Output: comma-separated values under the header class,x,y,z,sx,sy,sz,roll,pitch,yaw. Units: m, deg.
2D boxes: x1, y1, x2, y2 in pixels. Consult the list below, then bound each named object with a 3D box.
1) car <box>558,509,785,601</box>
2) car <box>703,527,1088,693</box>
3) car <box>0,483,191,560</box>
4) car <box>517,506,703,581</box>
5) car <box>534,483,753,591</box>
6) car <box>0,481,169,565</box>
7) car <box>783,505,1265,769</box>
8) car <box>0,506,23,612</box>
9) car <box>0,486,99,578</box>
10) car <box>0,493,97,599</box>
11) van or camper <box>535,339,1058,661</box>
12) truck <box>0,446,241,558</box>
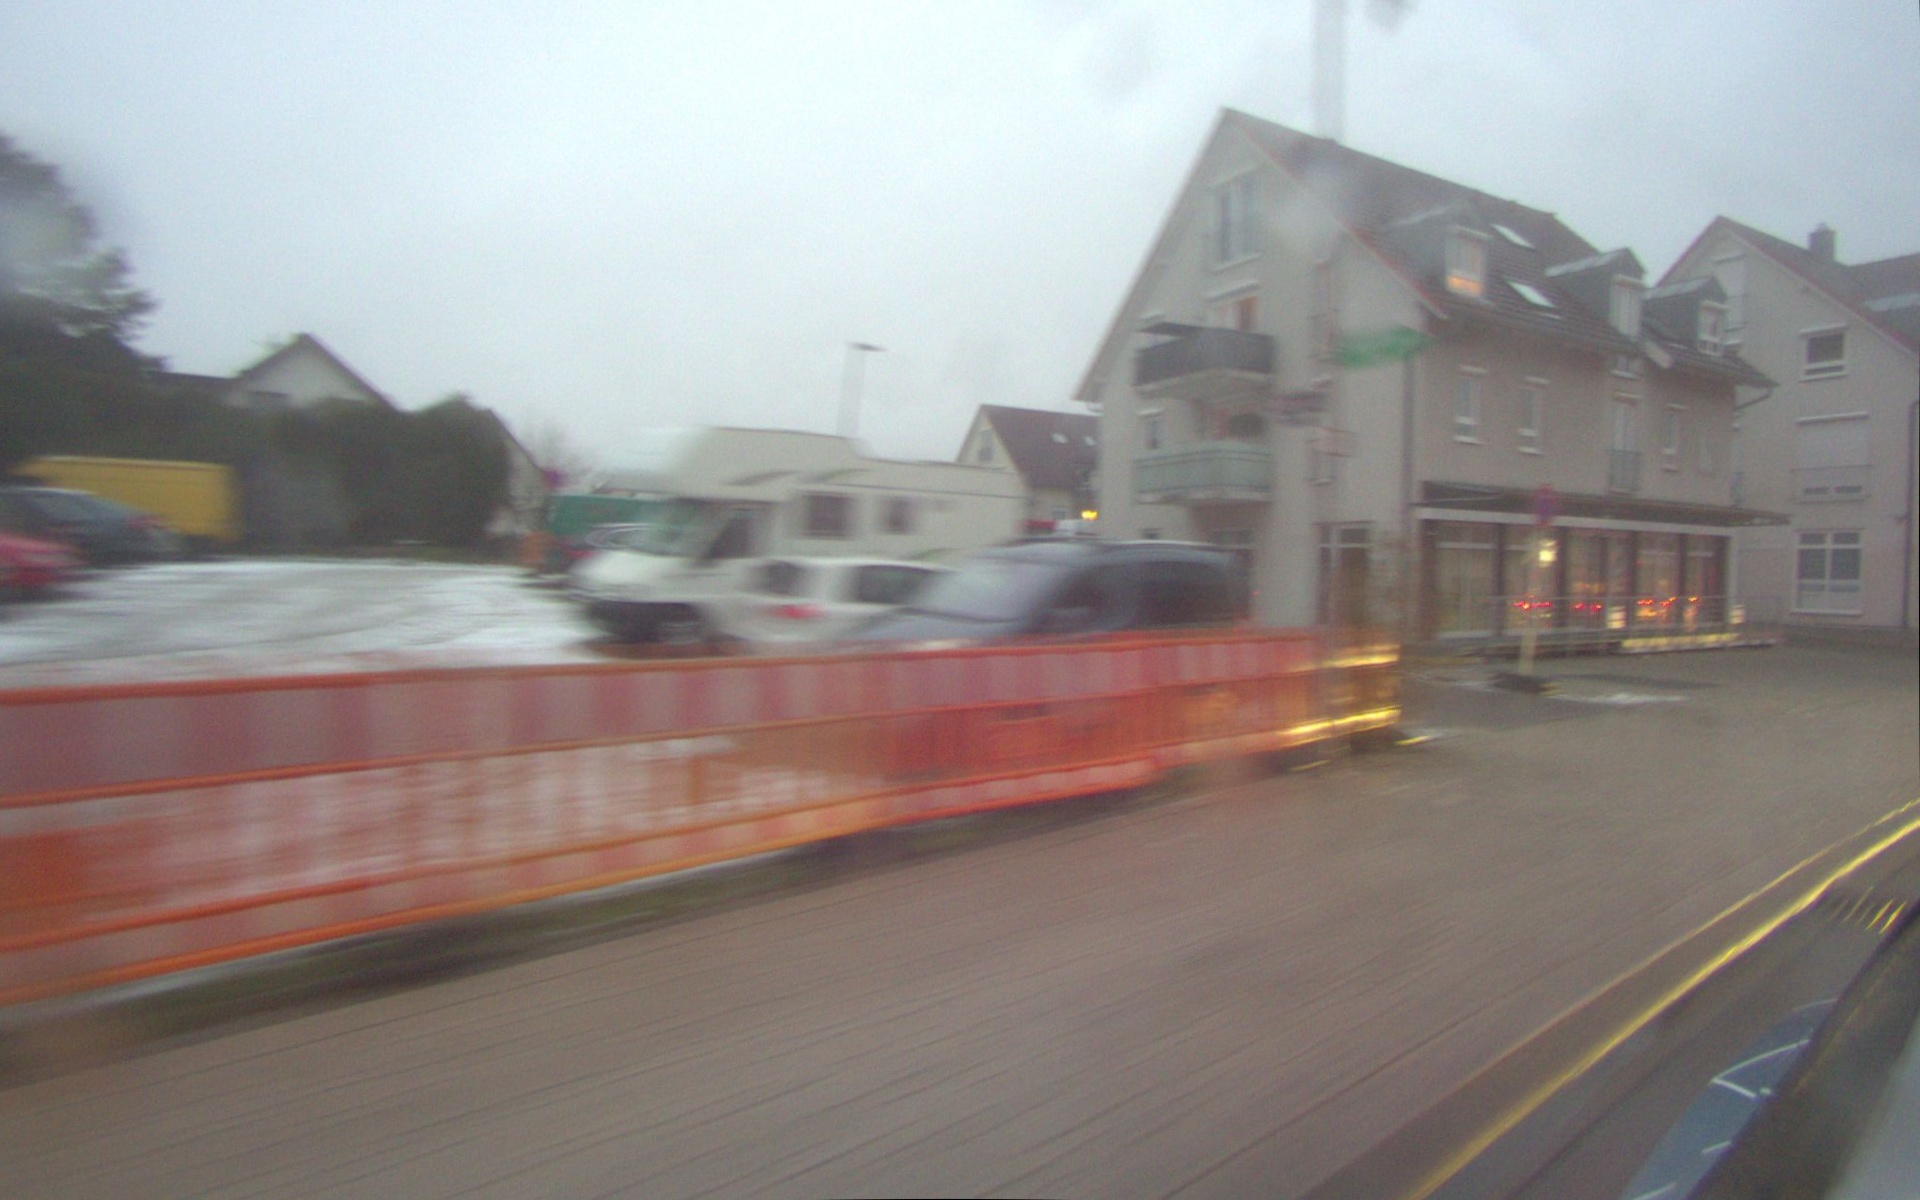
class,x,y,z,sx,sy,sz,roll,pitch,yaw
car,-5.635,-0.871,19.817,3.919,1.528,1.804,2,4,-29
car,-0.647,0.075,11.825,4.167,1.560,1.786,1,4,-39
car,-18.563,-1.642,20.830,4.158,1.342,1.789,2,4,-32
car,-8.386,-1.347,24.256,3.919,1.528,1.804,2,4,-29
car,-6.819,-1.339,21.846,4.157,1.996,1.790,2,4,-29
car,-17.134,-1.460,18.394,4.158,1.342,1.789,2,4,-32
car,0.718,0.242,9.069,4.167,1.845,1.785,1,2,-39
car,-13.127,-0.518,11.220,3.736,1.253,1.732,1,4,-32
car,-16.174,-1.157,15.618,4.158,1.342,1.789,2,4,-32
car,-14.347,-0.815,13.427,4.158,1.342,1.790,2,4,-32
van or camper,-2.000,-1.168,14.448,6.999,3.551,2.437,1,4,-41
truck,-19.429,-2.231,23.512,4.154,2.210,1.791,2,4,-26
